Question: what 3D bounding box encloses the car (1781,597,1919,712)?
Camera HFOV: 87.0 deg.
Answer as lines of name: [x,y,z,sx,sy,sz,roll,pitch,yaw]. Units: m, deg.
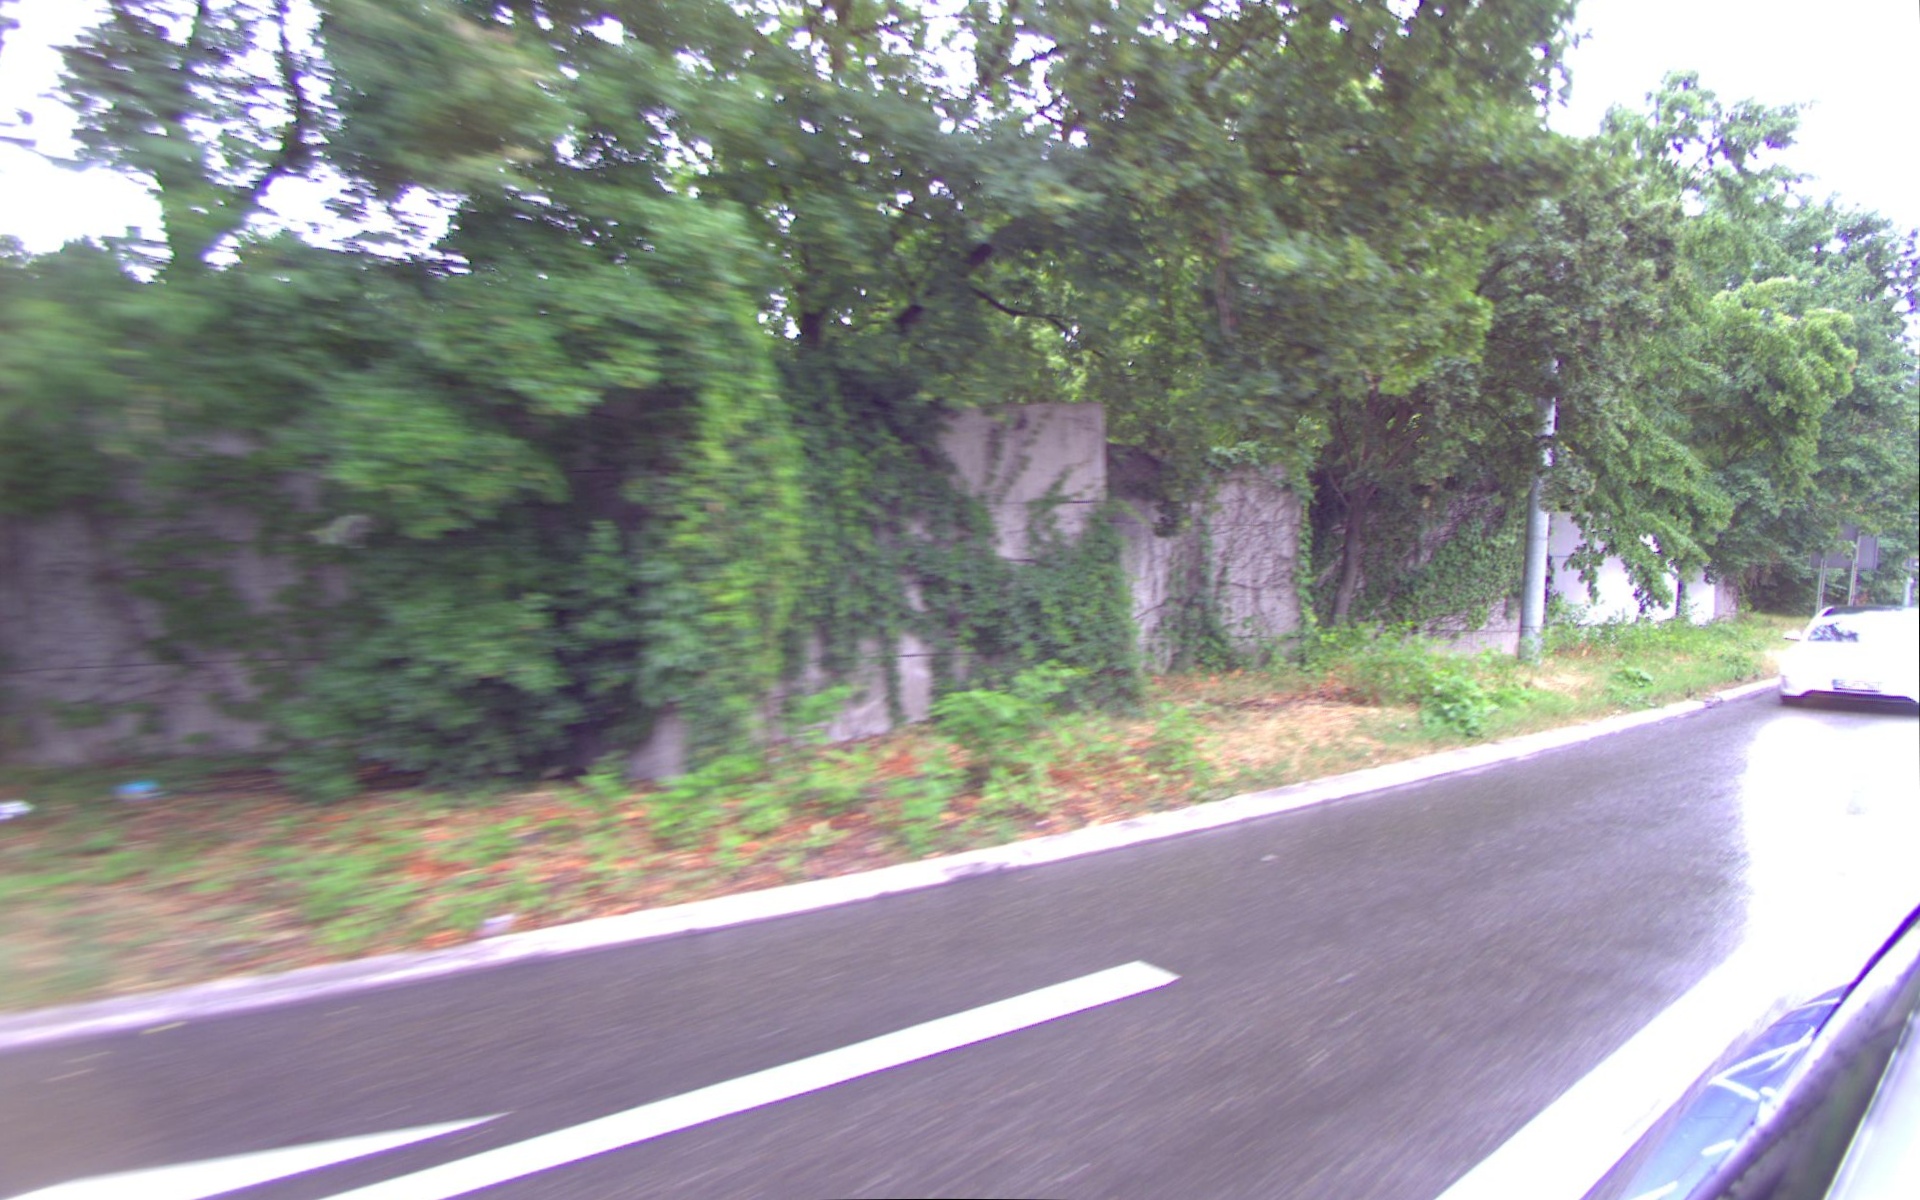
car: [13.658,0.699,14.803,4.198,1.450,1.838,0,1,-40]
